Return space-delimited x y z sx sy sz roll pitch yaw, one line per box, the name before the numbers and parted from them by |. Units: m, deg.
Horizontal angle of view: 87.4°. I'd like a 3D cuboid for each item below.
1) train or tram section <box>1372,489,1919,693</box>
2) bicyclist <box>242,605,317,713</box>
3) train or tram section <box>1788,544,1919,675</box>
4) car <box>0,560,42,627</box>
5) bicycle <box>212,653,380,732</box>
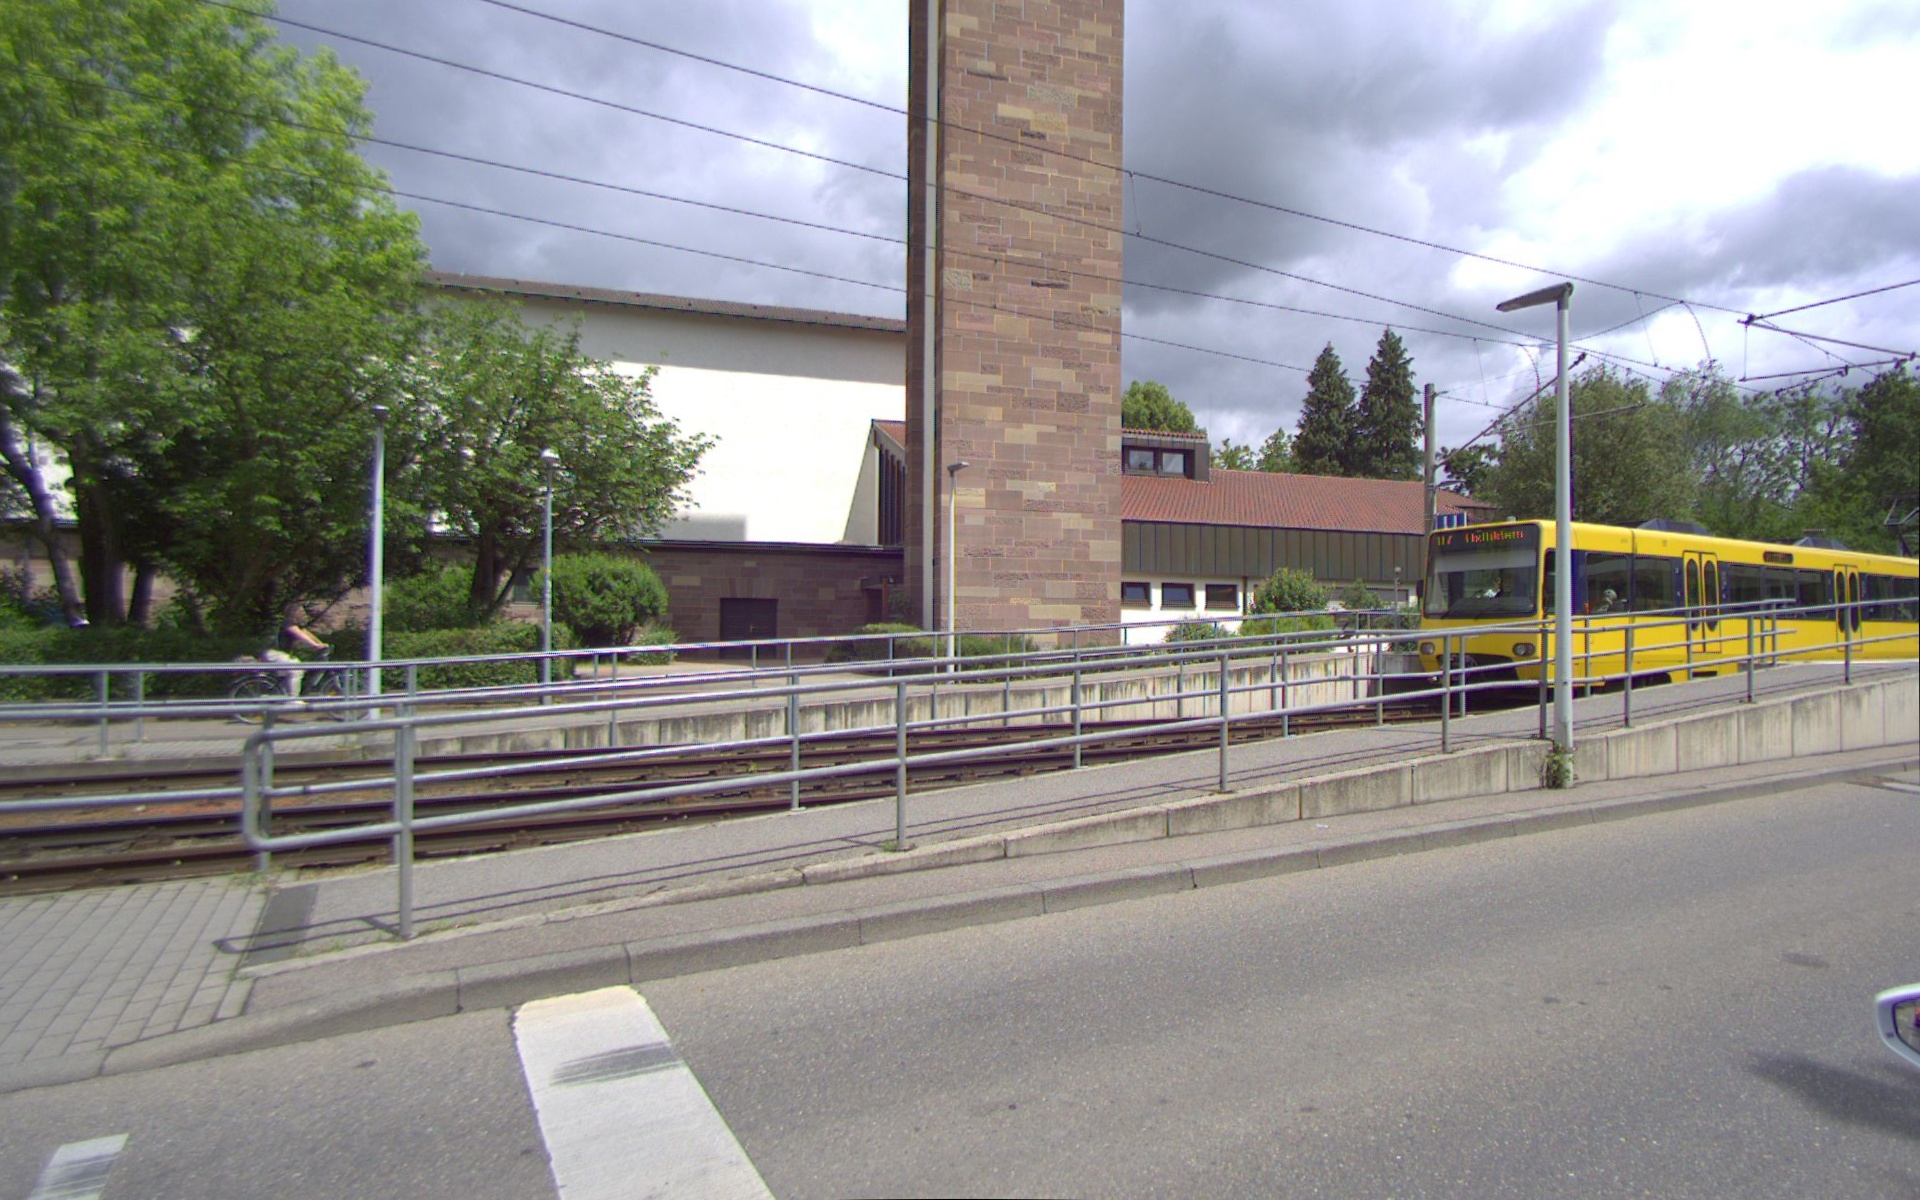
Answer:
train or tram section | 16.990 0.050 23.355 18.605 3.511 3.093 1 0 -31
bicyclist | -9.425 0.797 13.932 0.781 1.448 0.630 1 0 -30
train or tram section | 33.110 0.448 32.839 18.774 3.511 3.093 1 0 -31
car | -31.636 -0.199 31.290 3.936 2.040 1.993 1 -2 -18
bicycle | -9.246 1.264 14.088 1.906 1.007 0.634 1 0 -30
